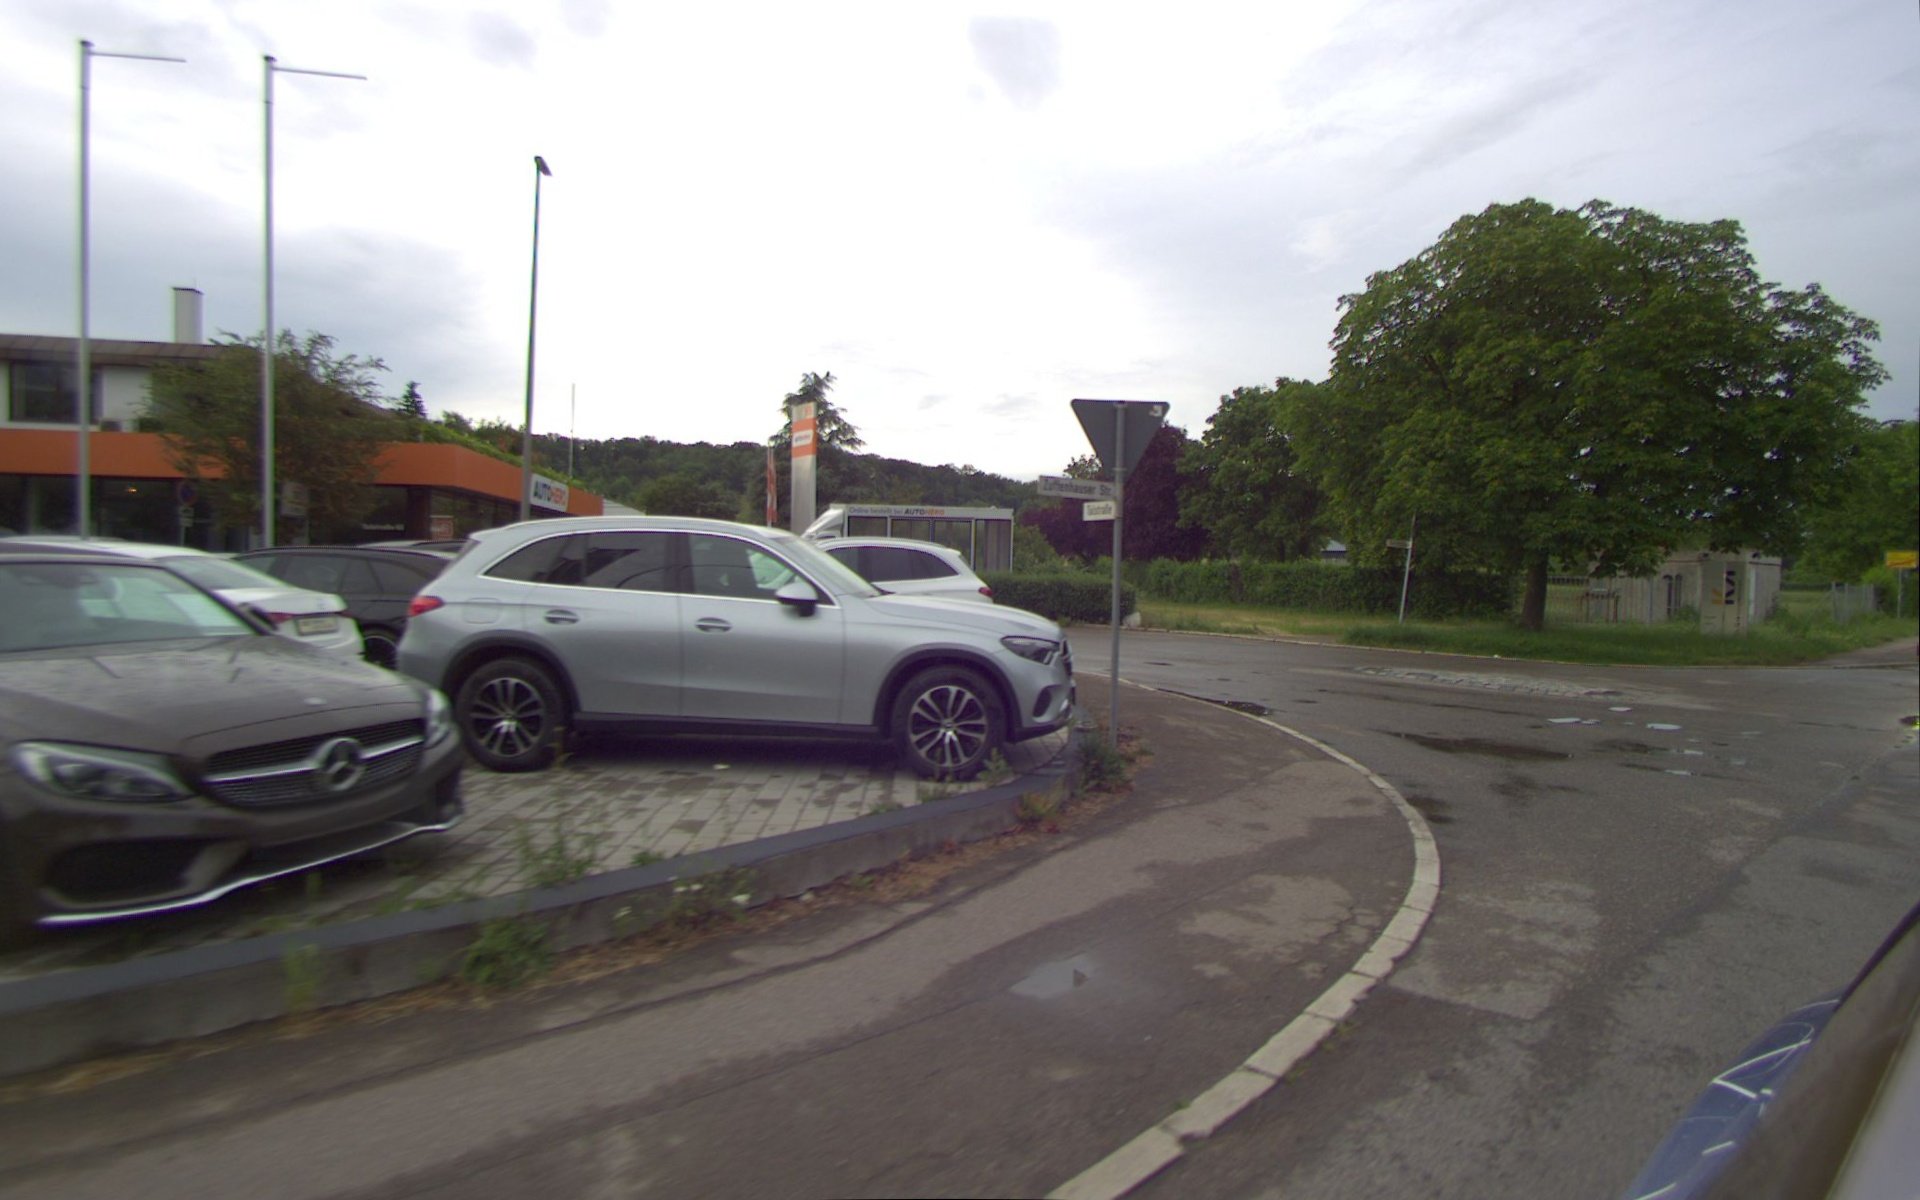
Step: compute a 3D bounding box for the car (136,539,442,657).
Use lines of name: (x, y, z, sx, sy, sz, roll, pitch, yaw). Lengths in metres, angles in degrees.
car: (-9.584, -0.051, 14.900, 1.739, 1.452, 3.998, 2, 1, 2)

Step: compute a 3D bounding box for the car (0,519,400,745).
car: (-6.934, 0.207, 7.715, 4.274, 1.518, 1.970, 0, 1, -11)

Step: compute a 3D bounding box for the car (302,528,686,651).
car: (-6.503, -0.143, 14.711, 2.059, 1.479, 4.710, 2, 1, 32)

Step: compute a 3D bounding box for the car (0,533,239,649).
car: (-12.785, -0.141, 14.266, 1.750, 1.479, 3.973, 2, 1, 20)

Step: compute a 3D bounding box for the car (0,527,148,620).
car: (-21.831, -0.583, 23.430, 4.357, 2.039, 1.836, -1, -1, -14)

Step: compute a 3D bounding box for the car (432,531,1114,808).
car: (-1.162, 0.419, 7.274, 4.285, 1.692, 1.965, 0, 0, 3)

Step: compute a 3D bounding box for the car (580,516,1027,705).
car: (-1.565, 0.061, 11.208, 4.625, 1.694, 1.812, -1, 1, -39)

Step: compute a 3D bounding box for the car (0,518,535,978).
car: (-4.253, 0.402, 4.713, 4.092, 1.411, 1.839, 1, 1, 21)

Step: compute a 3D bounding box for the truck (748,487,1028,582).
truck: (-2.288, -2.020, 31.802, 8.297, 2.656, 2.794, -1, -1, -17)

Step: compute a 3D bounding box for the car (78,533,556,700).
car: (-6.596, 0.127, 10.598, 4.056, 1.479, 1.768, 2, 0, 8)

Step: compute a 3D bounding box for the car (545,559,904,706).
car: (-3.122, 0.345, 13.974, 4.428, 1.697, 2.024, -1, 1, -43)
